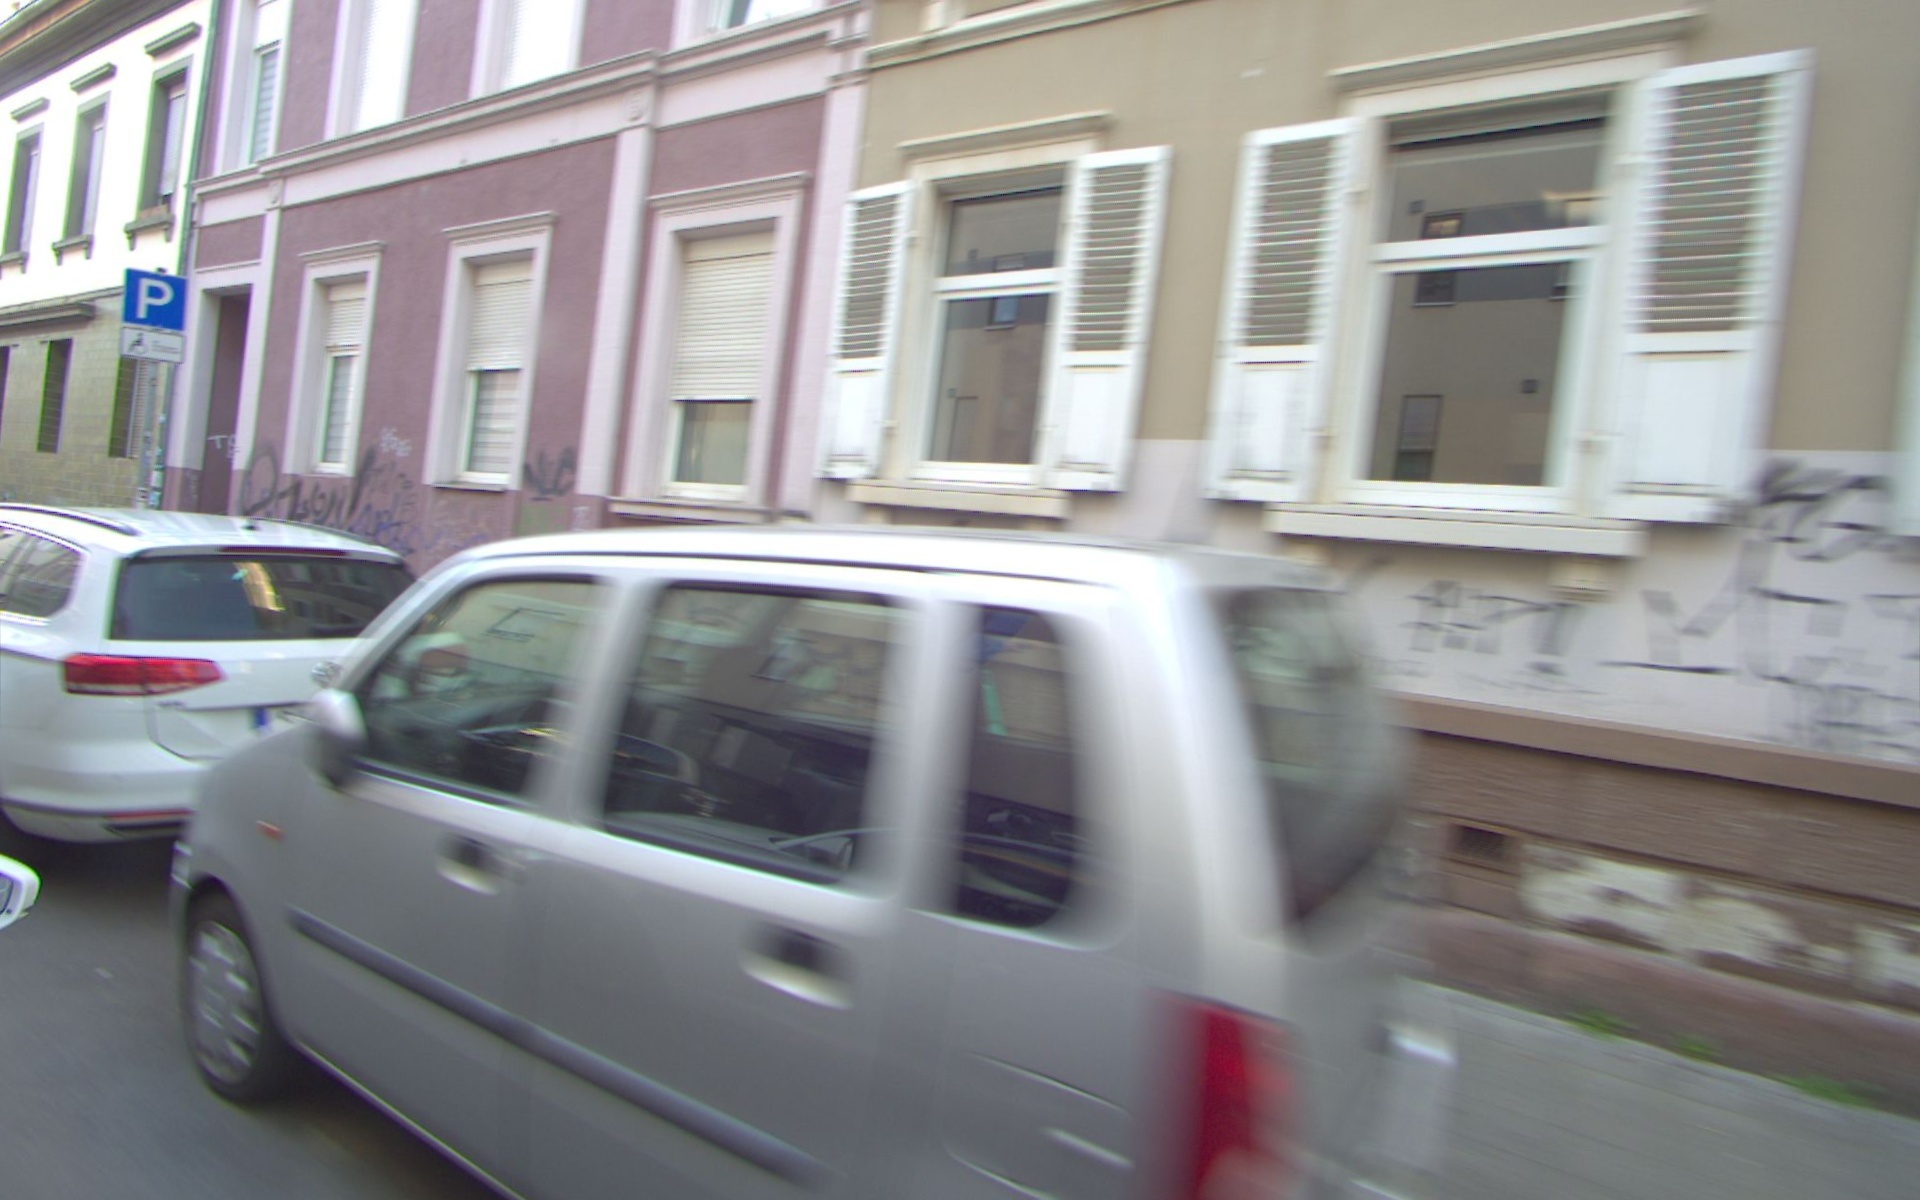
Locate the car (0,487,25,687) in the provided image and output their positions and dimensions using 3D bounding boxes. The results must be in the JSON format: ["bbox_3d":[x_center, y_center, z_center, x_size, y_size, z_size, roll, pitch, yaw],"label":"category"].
[{"bbox_3d":[-9.532,-0.305,8.258,3.979,1.564,1.687,6,1,32],"label":"car"}]

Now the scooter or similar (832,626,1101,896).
[{"bbox_3d":[0.008,0.809,5.484,1.346,1.199,0.450,6,4,32],"label":"scooter or similar"}]

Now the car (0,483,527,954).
[{"bbox_3d":[-4.490,0.244,5.277,4.552,1.564,1.697,6,1,32],"label":"car"}]

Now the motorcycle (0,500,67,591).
[{"bbox_3d":[-12.643,-0.755,13.443,1.747,1.110,0.558,6,2,32],"label":"motorcycle"}]

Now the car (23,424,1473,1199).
[{"bbox_3d":[-0.741,0.587,2.670,3.500,1.732,1.559,6,-1,32],"label":"car"}]

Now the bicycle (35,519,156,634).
[{"bbox_3d":[-10.321,-0.294,11.992,1.657,1.187,0.522,6,-1,32],"label":"bicycle"}]
